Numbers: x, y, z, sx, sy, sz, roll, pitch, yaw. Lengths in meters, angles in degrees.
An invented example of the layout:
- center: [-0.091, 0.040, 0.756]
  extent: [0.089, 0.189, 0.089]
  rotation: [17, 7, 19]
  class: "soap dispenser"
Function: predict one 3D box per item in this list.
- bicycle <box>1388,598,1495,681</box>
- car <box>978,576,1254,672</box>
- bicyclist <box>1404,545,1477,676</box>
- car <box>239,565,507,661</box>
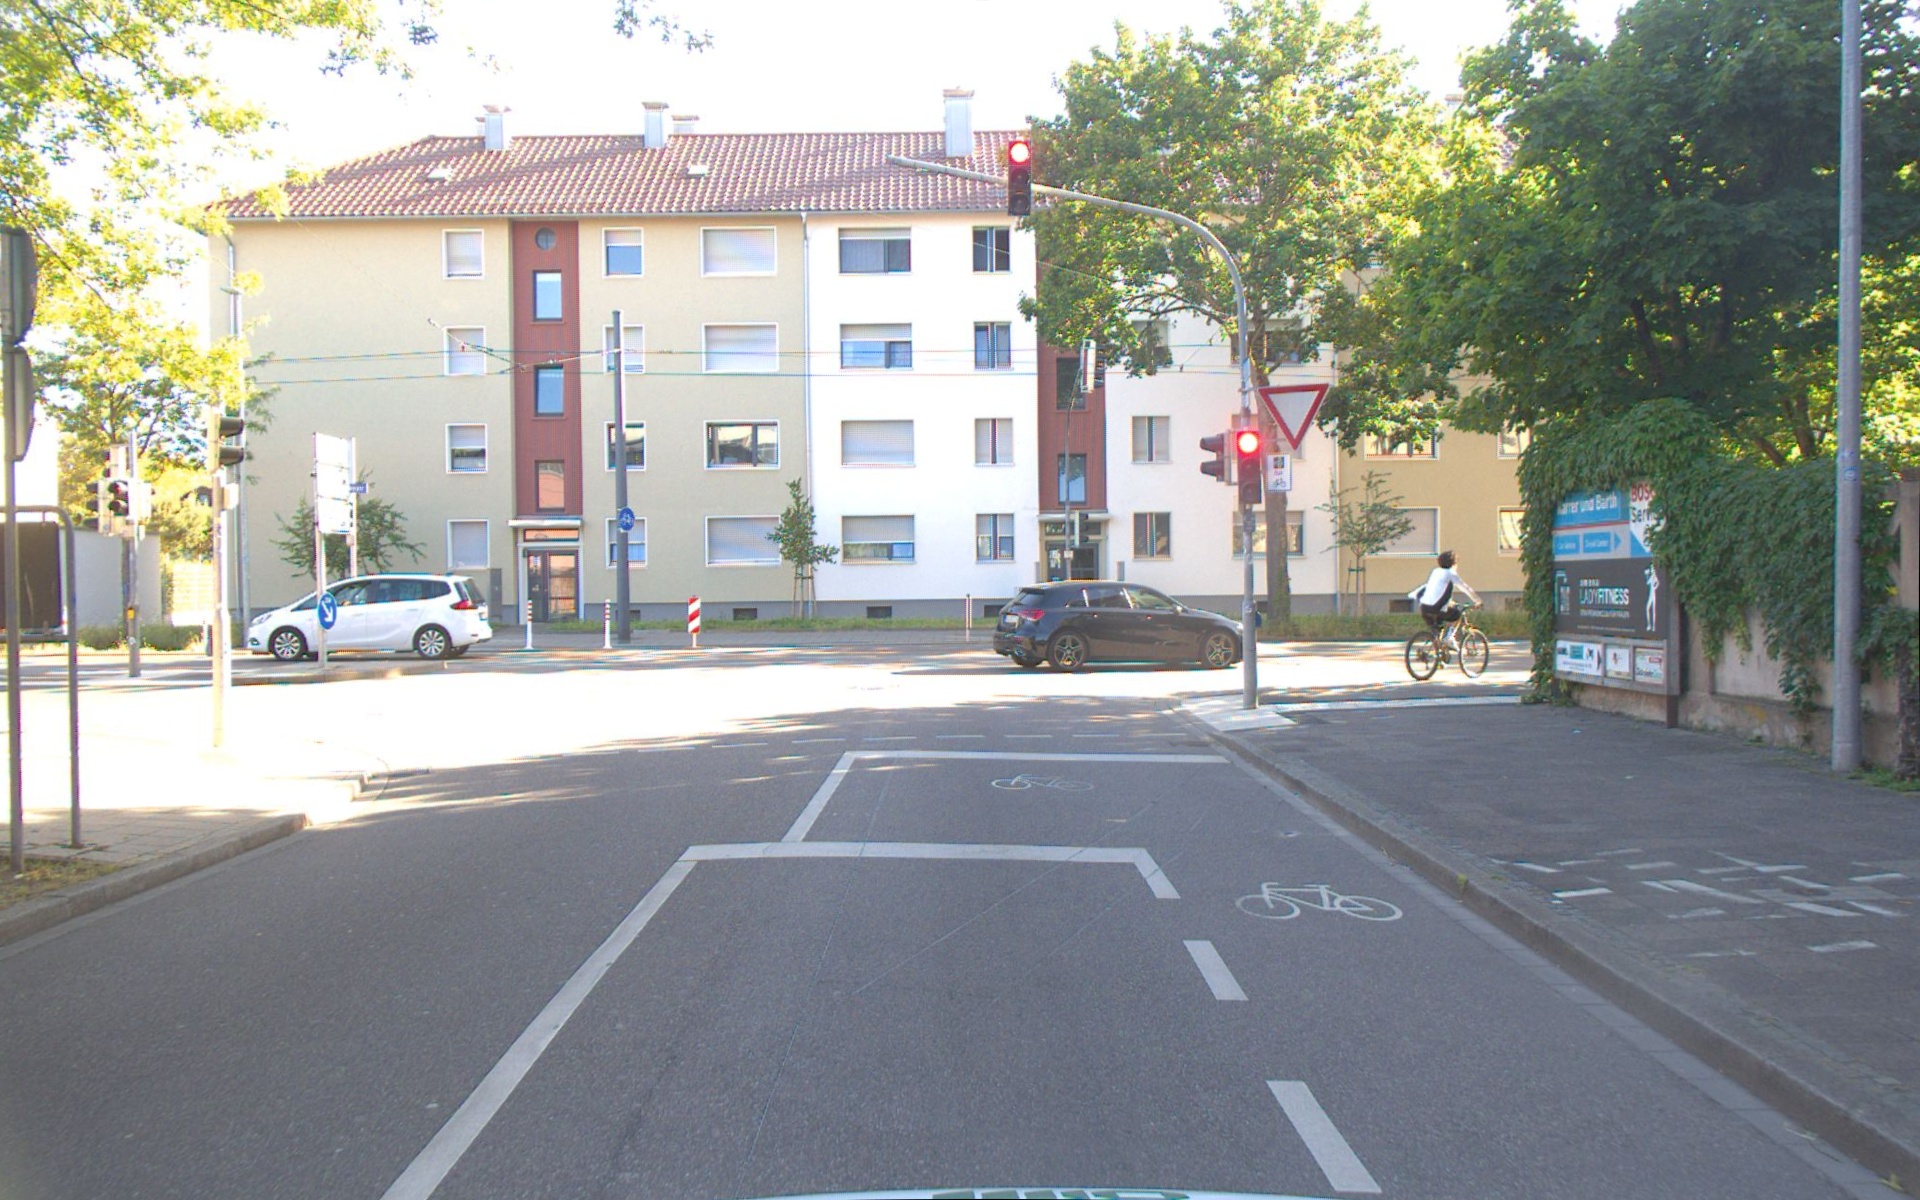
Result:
- center: [6.753, 0.536, 23.176]
  extent: [1.664, 1.099, 0.348]
  rotation: [-1, 1, -28]
  class: "bicycle"
- center: [2.539, 0.341, 26.931]
  extent: [4.136, 1.446, 1.840]
  rotation: [0, 1, -23]
  class: "car"
- center: [6.728, 0.136, 23.166]
  extent: [0.776, 1.788, 0.607]
  rotation: [-1, 1, -26]
  class: "bicyclist"
- center: [-11.468, 0.234, 32.592]
  extent: [4.570, 1.769, 1.998]
  rotation: [-1, 1, -5]
  class: "car"
